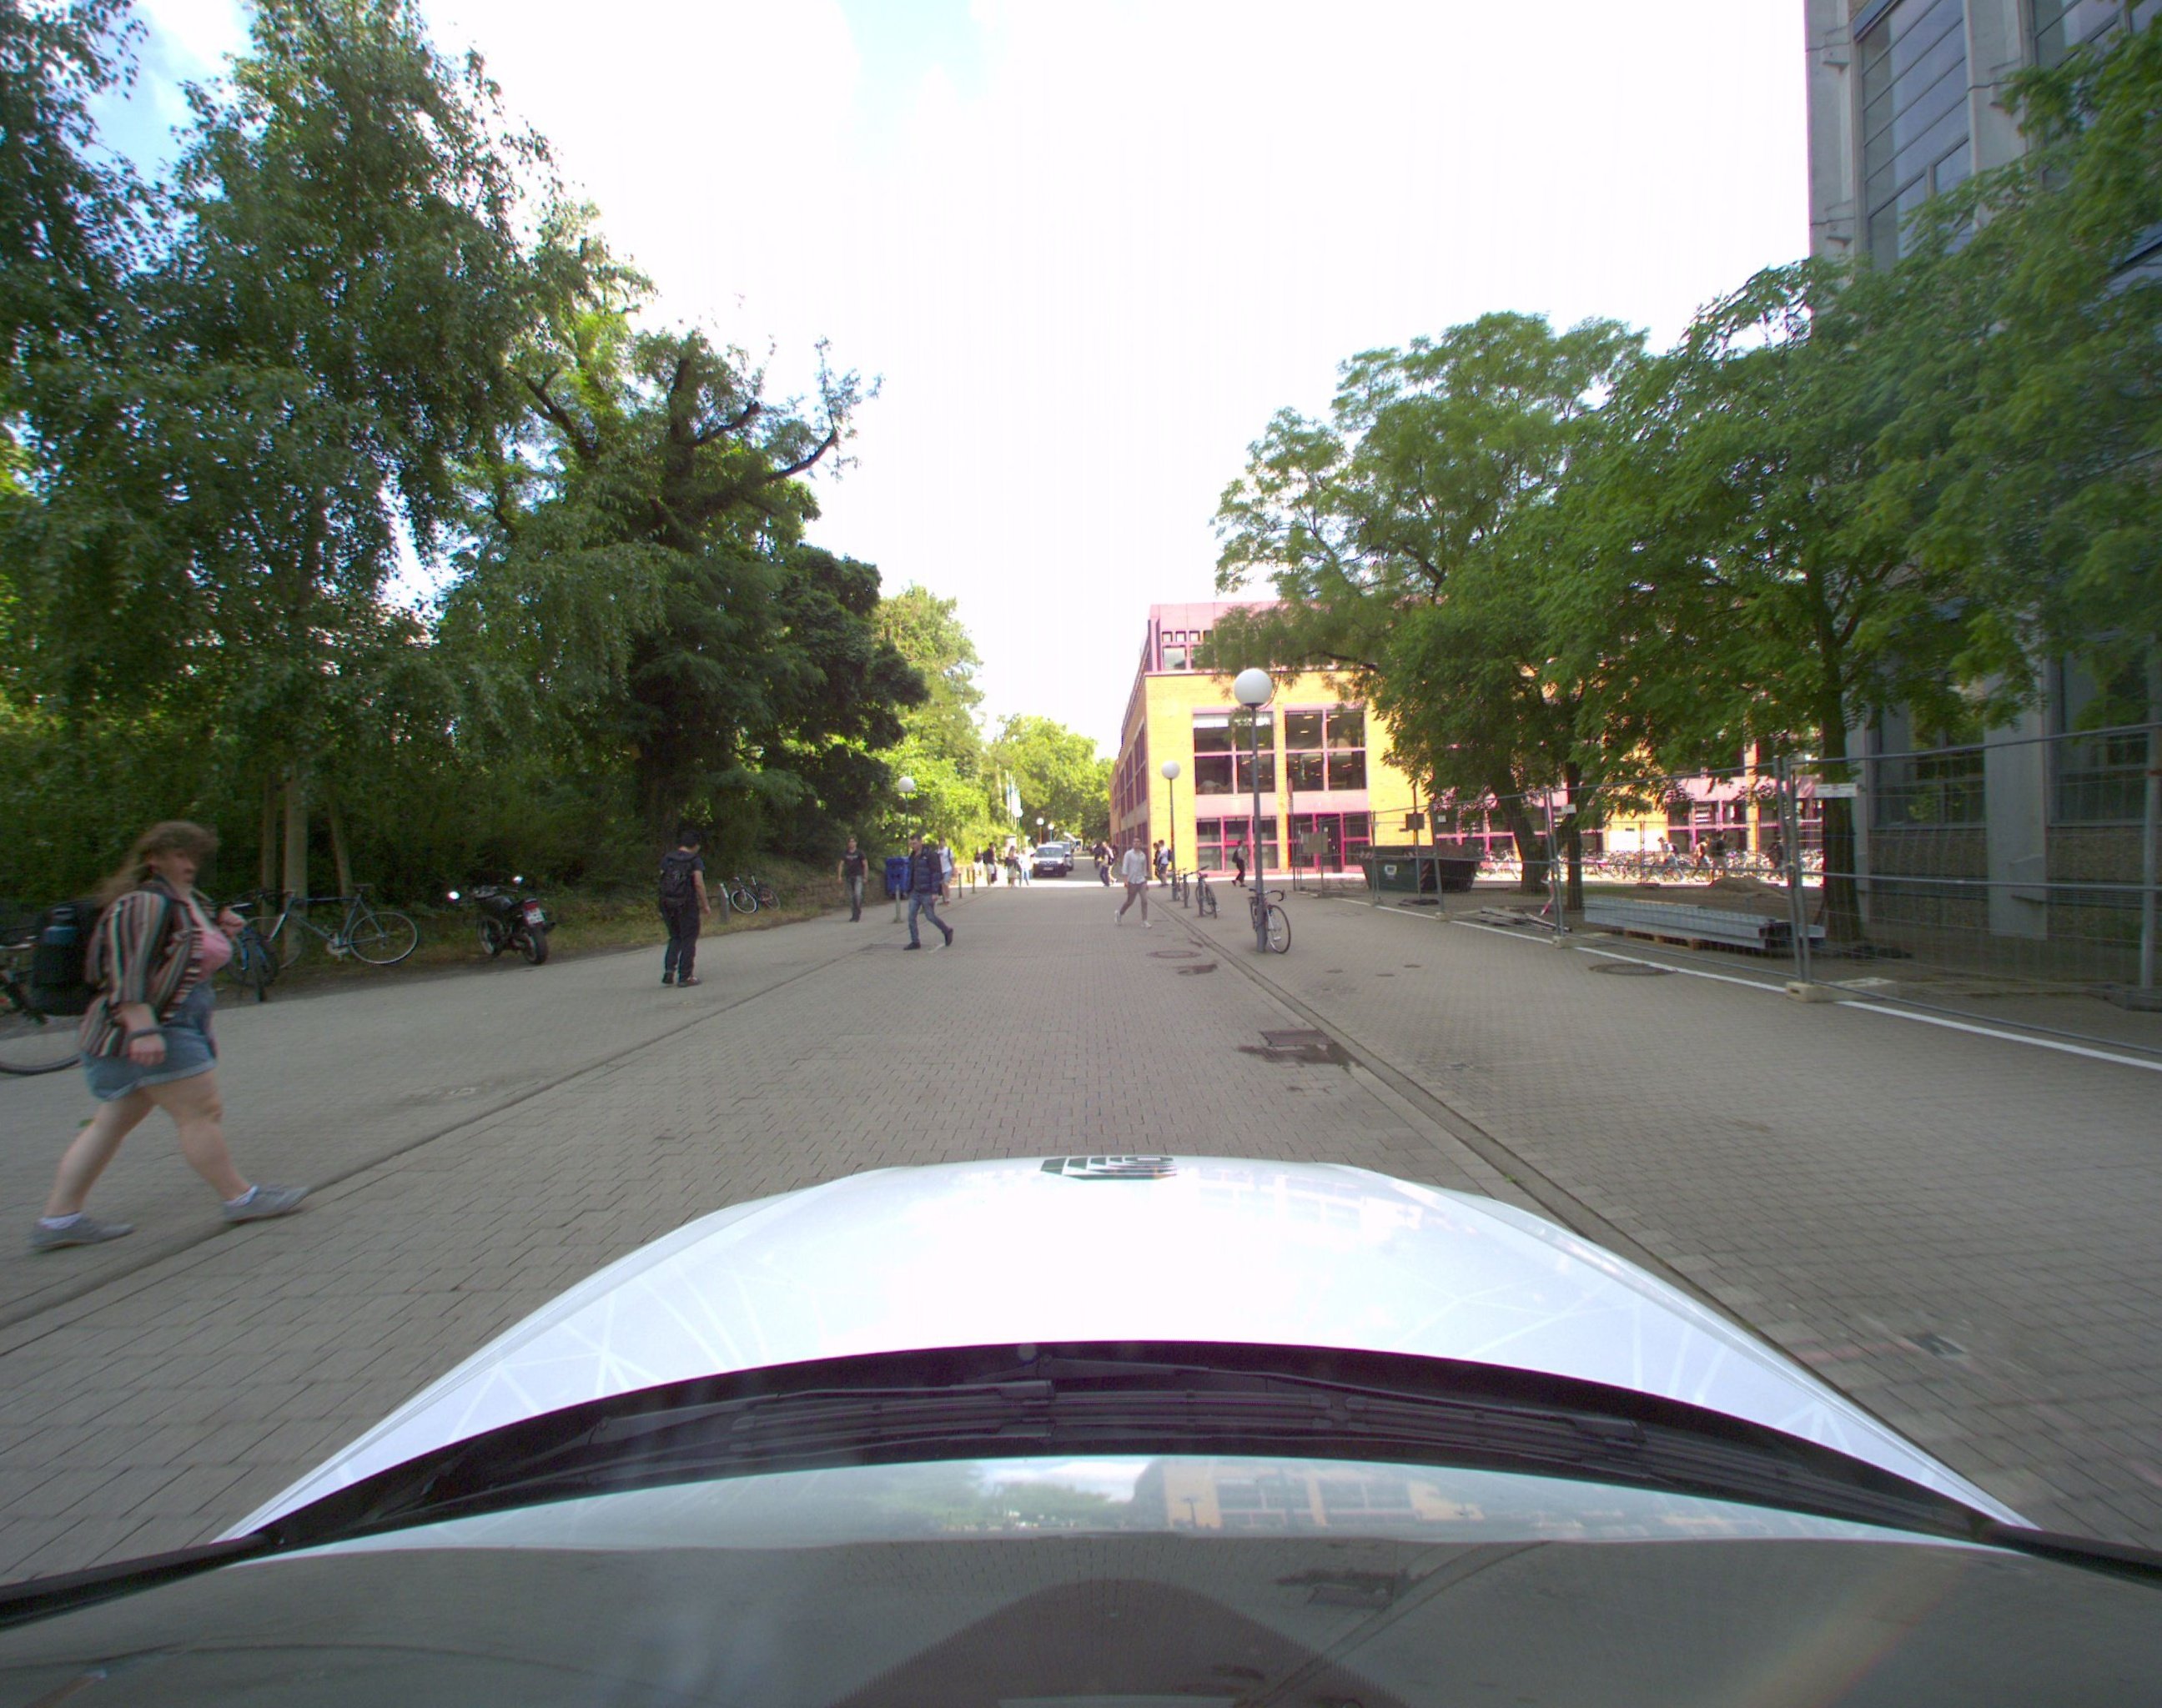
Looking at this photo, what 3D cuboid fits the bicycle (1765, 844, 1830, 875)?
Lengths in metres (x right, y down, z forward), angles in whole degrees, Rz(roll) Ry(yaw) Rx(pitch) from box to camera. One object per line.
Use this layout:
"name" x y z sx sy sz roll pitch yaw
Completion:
"bicycle" 26.973 0.206 30.680 1.990 1.169 0.545 0 0 -1

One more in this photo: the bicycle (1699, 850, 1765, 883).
"bicycle" 23.250 0.446 29.103 1.990 1.169 0.474 0 0 -1

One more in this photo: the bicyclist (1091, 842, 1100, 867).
"bicyclist" 1.038 0.031 57.331 0.585 1.716 0.665 -1 0 -3

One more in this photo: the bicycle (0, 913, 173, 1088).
"bicycle" -7.207 0.969 5.120 0.535 1.047 1.919 1 0 24

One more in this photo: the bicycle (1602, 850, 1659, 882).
"bicycle" 20.490 0.427 30.386 1.800 1.169 0.474 0 0 0

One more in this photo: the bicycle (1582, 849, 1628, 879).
"bicycle" 20.885 0.406 32.456 1.810 1.169 0.471 0 0 -17

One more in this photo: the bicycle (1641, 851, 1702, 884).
"bicycle" 21.143 0.480 29.170 1.798 1.169 0.474 0 0 3

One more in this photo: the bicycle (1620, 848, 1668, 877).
"bicycle" 22.988 0.332 33.252 2.000 1.169 0.471 0 0 -16

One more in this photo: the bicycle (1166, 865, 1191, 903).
"bicycle" 2.755 0.831 23.101 0.449 0.962 1.740 -4 0 0

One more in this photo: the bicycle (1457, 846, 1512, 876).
"bicycle" 15.247 0.271 30.806 1.801 1.110 0.524 0 0 4

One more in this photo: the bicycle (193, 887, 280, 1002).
"bicycle" -9.077 0.917 8.794 0.476 1.047 1.680 1 0 -41

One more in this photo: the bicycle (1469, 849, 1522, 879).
"bicycle" 15.110 0.358 29.683 1.687 1.110 0.474 0 0 3

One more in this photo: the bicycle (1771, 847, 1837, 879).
"bicycle" 26.806 0.322 30.186 1.990 1.169 0.545 0 0 -1

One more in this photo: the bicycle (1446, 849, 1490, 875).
"bicycle" 17.057 0.344 35.904 1.803 1.110 0.473 0 0 -6

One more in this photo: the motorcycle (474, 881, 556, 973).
"motorcycle" -7.644 0.931 10.963 2.000 1.047 0.477 1 1 43

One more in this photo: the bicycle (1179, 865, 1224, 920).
"bicycle" 2.572 0.801 17.559 0.706 1.093 1.748 -1 0 0

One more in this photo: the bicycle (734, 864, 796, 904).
"bicycle" -7.571 0.708 19.585 0.418 0.910 1.747 -1 -1 15

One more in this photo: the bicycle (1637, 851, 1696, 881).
"bicycle" 22.947 0.465 31.923 1.990 1.169 0.474 0 0 -1

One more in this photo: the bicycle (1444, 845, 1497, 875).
"bicycle" 15.045 0.229 31.467 1.804 1.110 0.523 0 0 -1

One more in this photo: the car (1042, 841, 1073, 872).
"car" -1.563 0.130 55.721 1.877 1.974 5.215 -1 1 0

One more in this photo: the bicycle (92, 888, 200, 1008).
"bicycle" -9.482 0.902 8.305 0.476 1.047 1.679 -1 0 -41

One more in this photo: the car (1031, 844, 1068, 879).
"car" -1.685 0.370 44.712 1.784 1.761 4.481 -2 1 0

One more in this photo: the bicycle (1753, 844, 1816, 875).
"bicycle" 27.233 0.204 31.519 1.990 1.169 0.545 0 0 -1

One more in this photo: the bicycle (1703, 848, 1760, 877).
"bicycle" 27.059 0.352 33.891 1.990 1.169 0.545 0 0 -1

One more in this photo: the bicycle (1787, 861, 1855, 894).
"bicycle" 26.792 0.846 29.486 1.990 1.169 0.545 0 0 -1

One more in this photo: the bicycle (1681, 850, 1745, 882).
"bicycle" 23.054 0.440 29.734 1.990 1.169 0.474 0 0 -1

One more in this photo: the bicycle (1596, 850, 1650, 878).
"bicycle" 22.912 0.414 34.453 1.990 1.169 0.474 0 0 -2

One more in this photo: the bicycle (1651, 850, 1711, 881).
"bicycle" 23.109 0.440 31.397 1.990 1.169 0.474 0 0 -1

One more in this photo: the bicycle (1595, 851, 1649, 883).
"bicycle" 20.596 0.492 31.009 1.801 1.169 0.474 0 0 -2

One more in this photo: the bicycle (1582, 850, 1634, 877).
"bicycle" 22.928 0.410 35.425 1.990 1.169 0.474 0 0 -2

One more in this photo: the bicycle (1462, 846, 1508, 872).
"bicycle" 17.202 0.201 34.661 1.803 1.110 0.473 0 0 -6

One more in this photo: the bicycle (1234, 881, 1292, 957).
"bicycle" 2.608 0.900 11.787 0.394 0.936 1.732 -3 0 0
